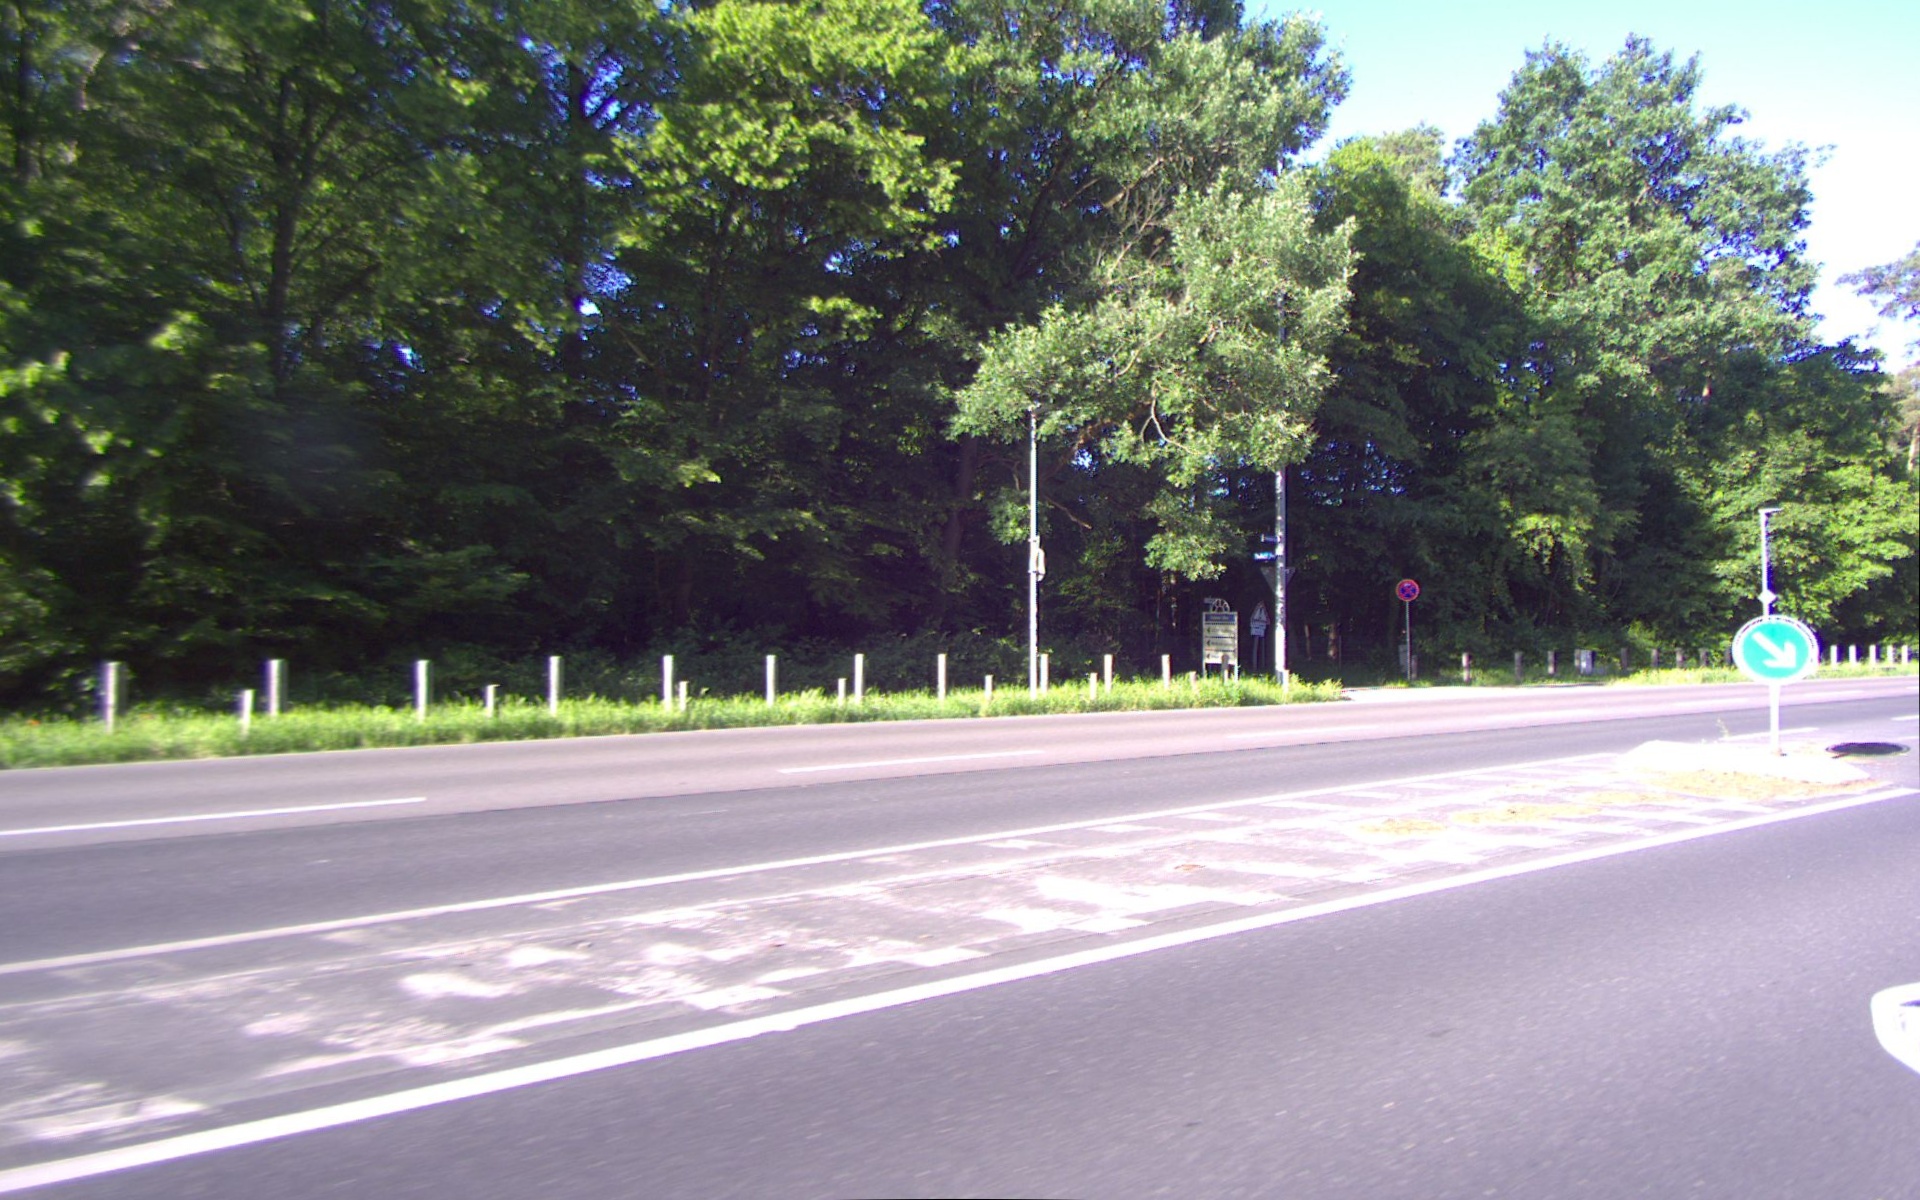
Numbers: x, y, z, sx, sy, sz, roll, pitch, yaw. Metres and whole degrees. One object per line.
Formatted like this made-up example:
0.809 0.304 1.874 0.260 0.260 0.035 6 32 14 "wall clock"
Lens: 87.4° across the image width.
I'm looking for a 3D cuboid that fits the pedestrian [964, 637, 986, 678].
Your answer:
0.648 2.453 43.000 0.695 1.769 0.649 1 -2 -28 "pedestrian"
